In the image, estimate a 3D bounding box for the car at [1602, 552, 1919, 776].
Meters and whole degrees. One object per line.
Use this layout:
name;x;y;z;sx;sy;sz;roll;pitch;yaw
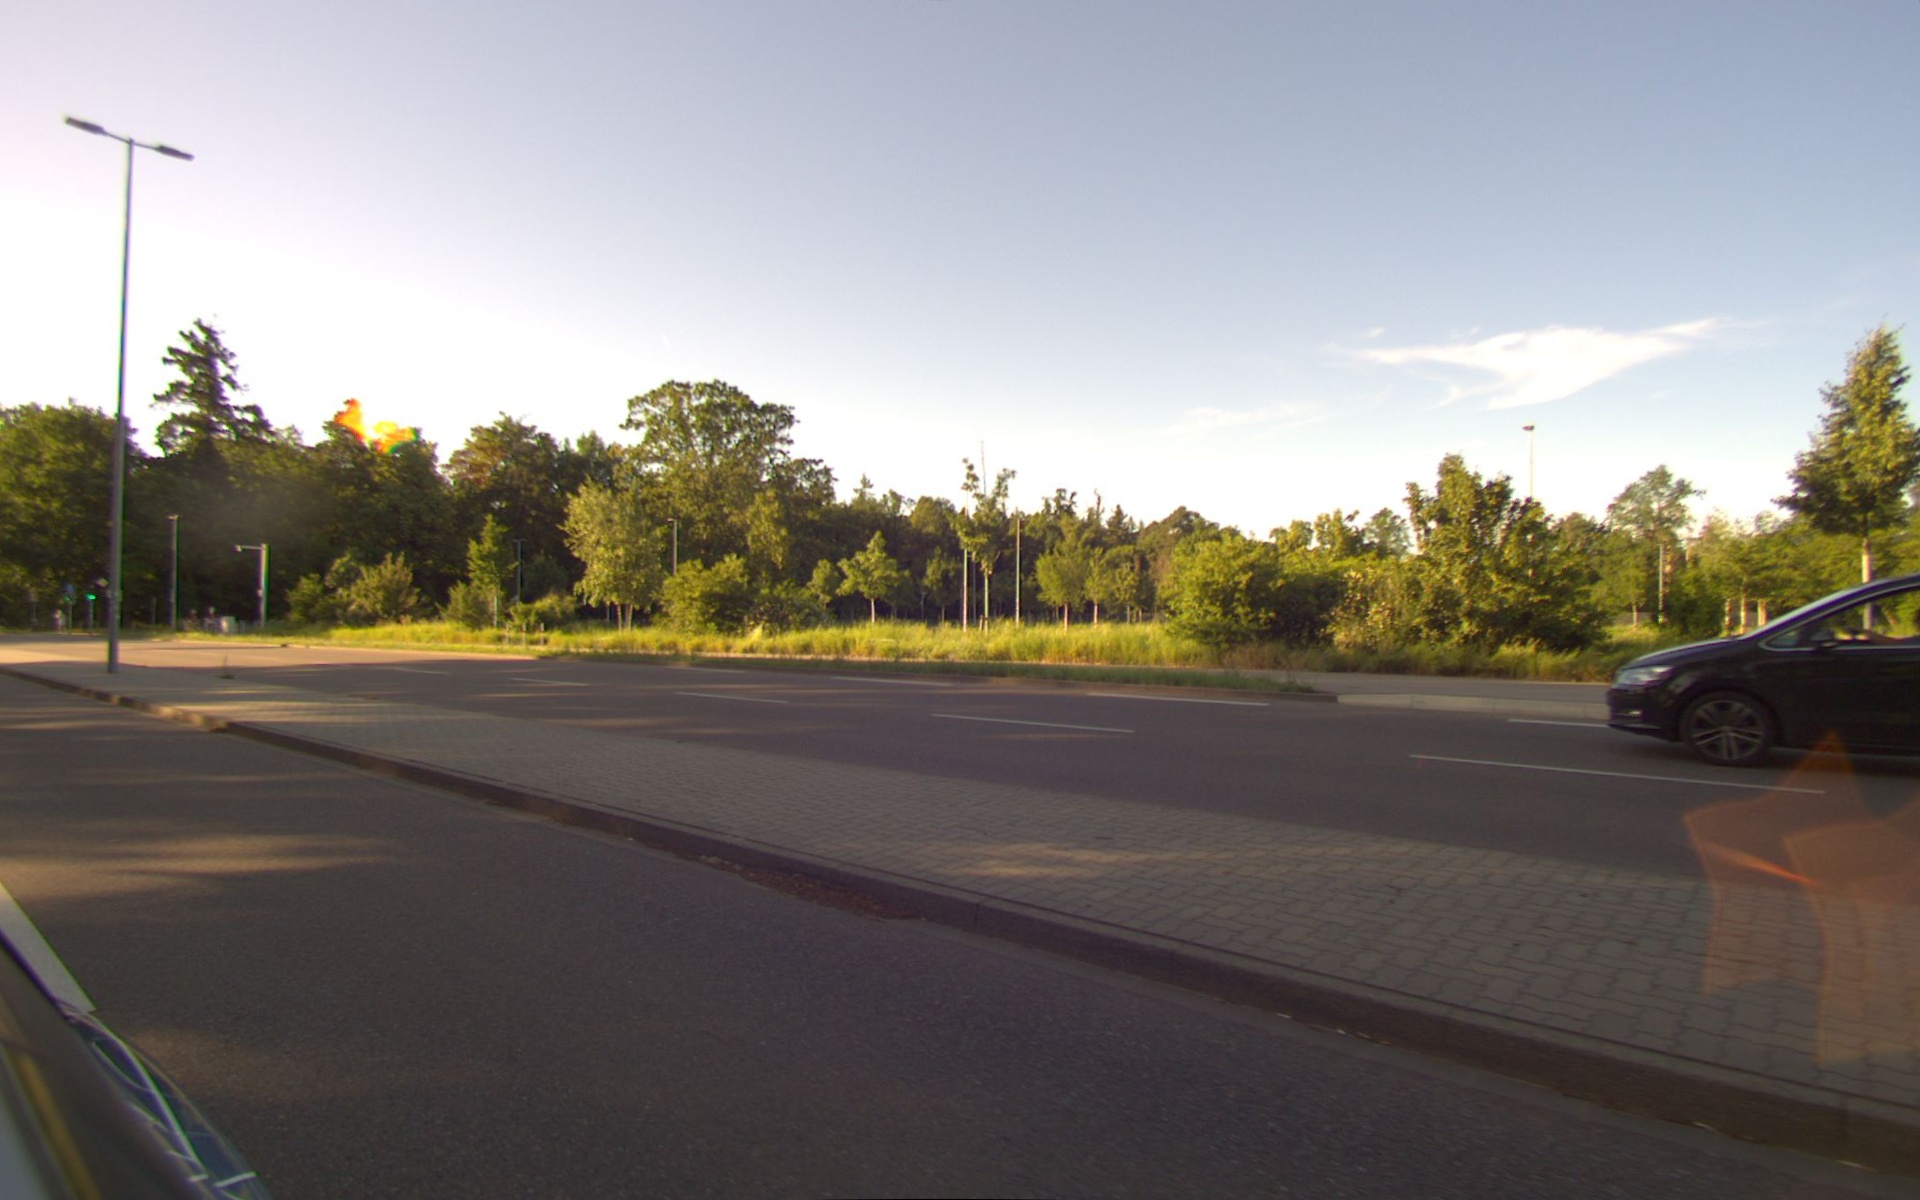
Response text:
car;8.085;0.462;8.160;4.699;1.704;1.765;-2;0;40

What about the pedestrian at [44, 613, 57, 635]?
pedestrian;-72.838;1.945;81.027;0.733;1.788;0.682;-2;-2;42
